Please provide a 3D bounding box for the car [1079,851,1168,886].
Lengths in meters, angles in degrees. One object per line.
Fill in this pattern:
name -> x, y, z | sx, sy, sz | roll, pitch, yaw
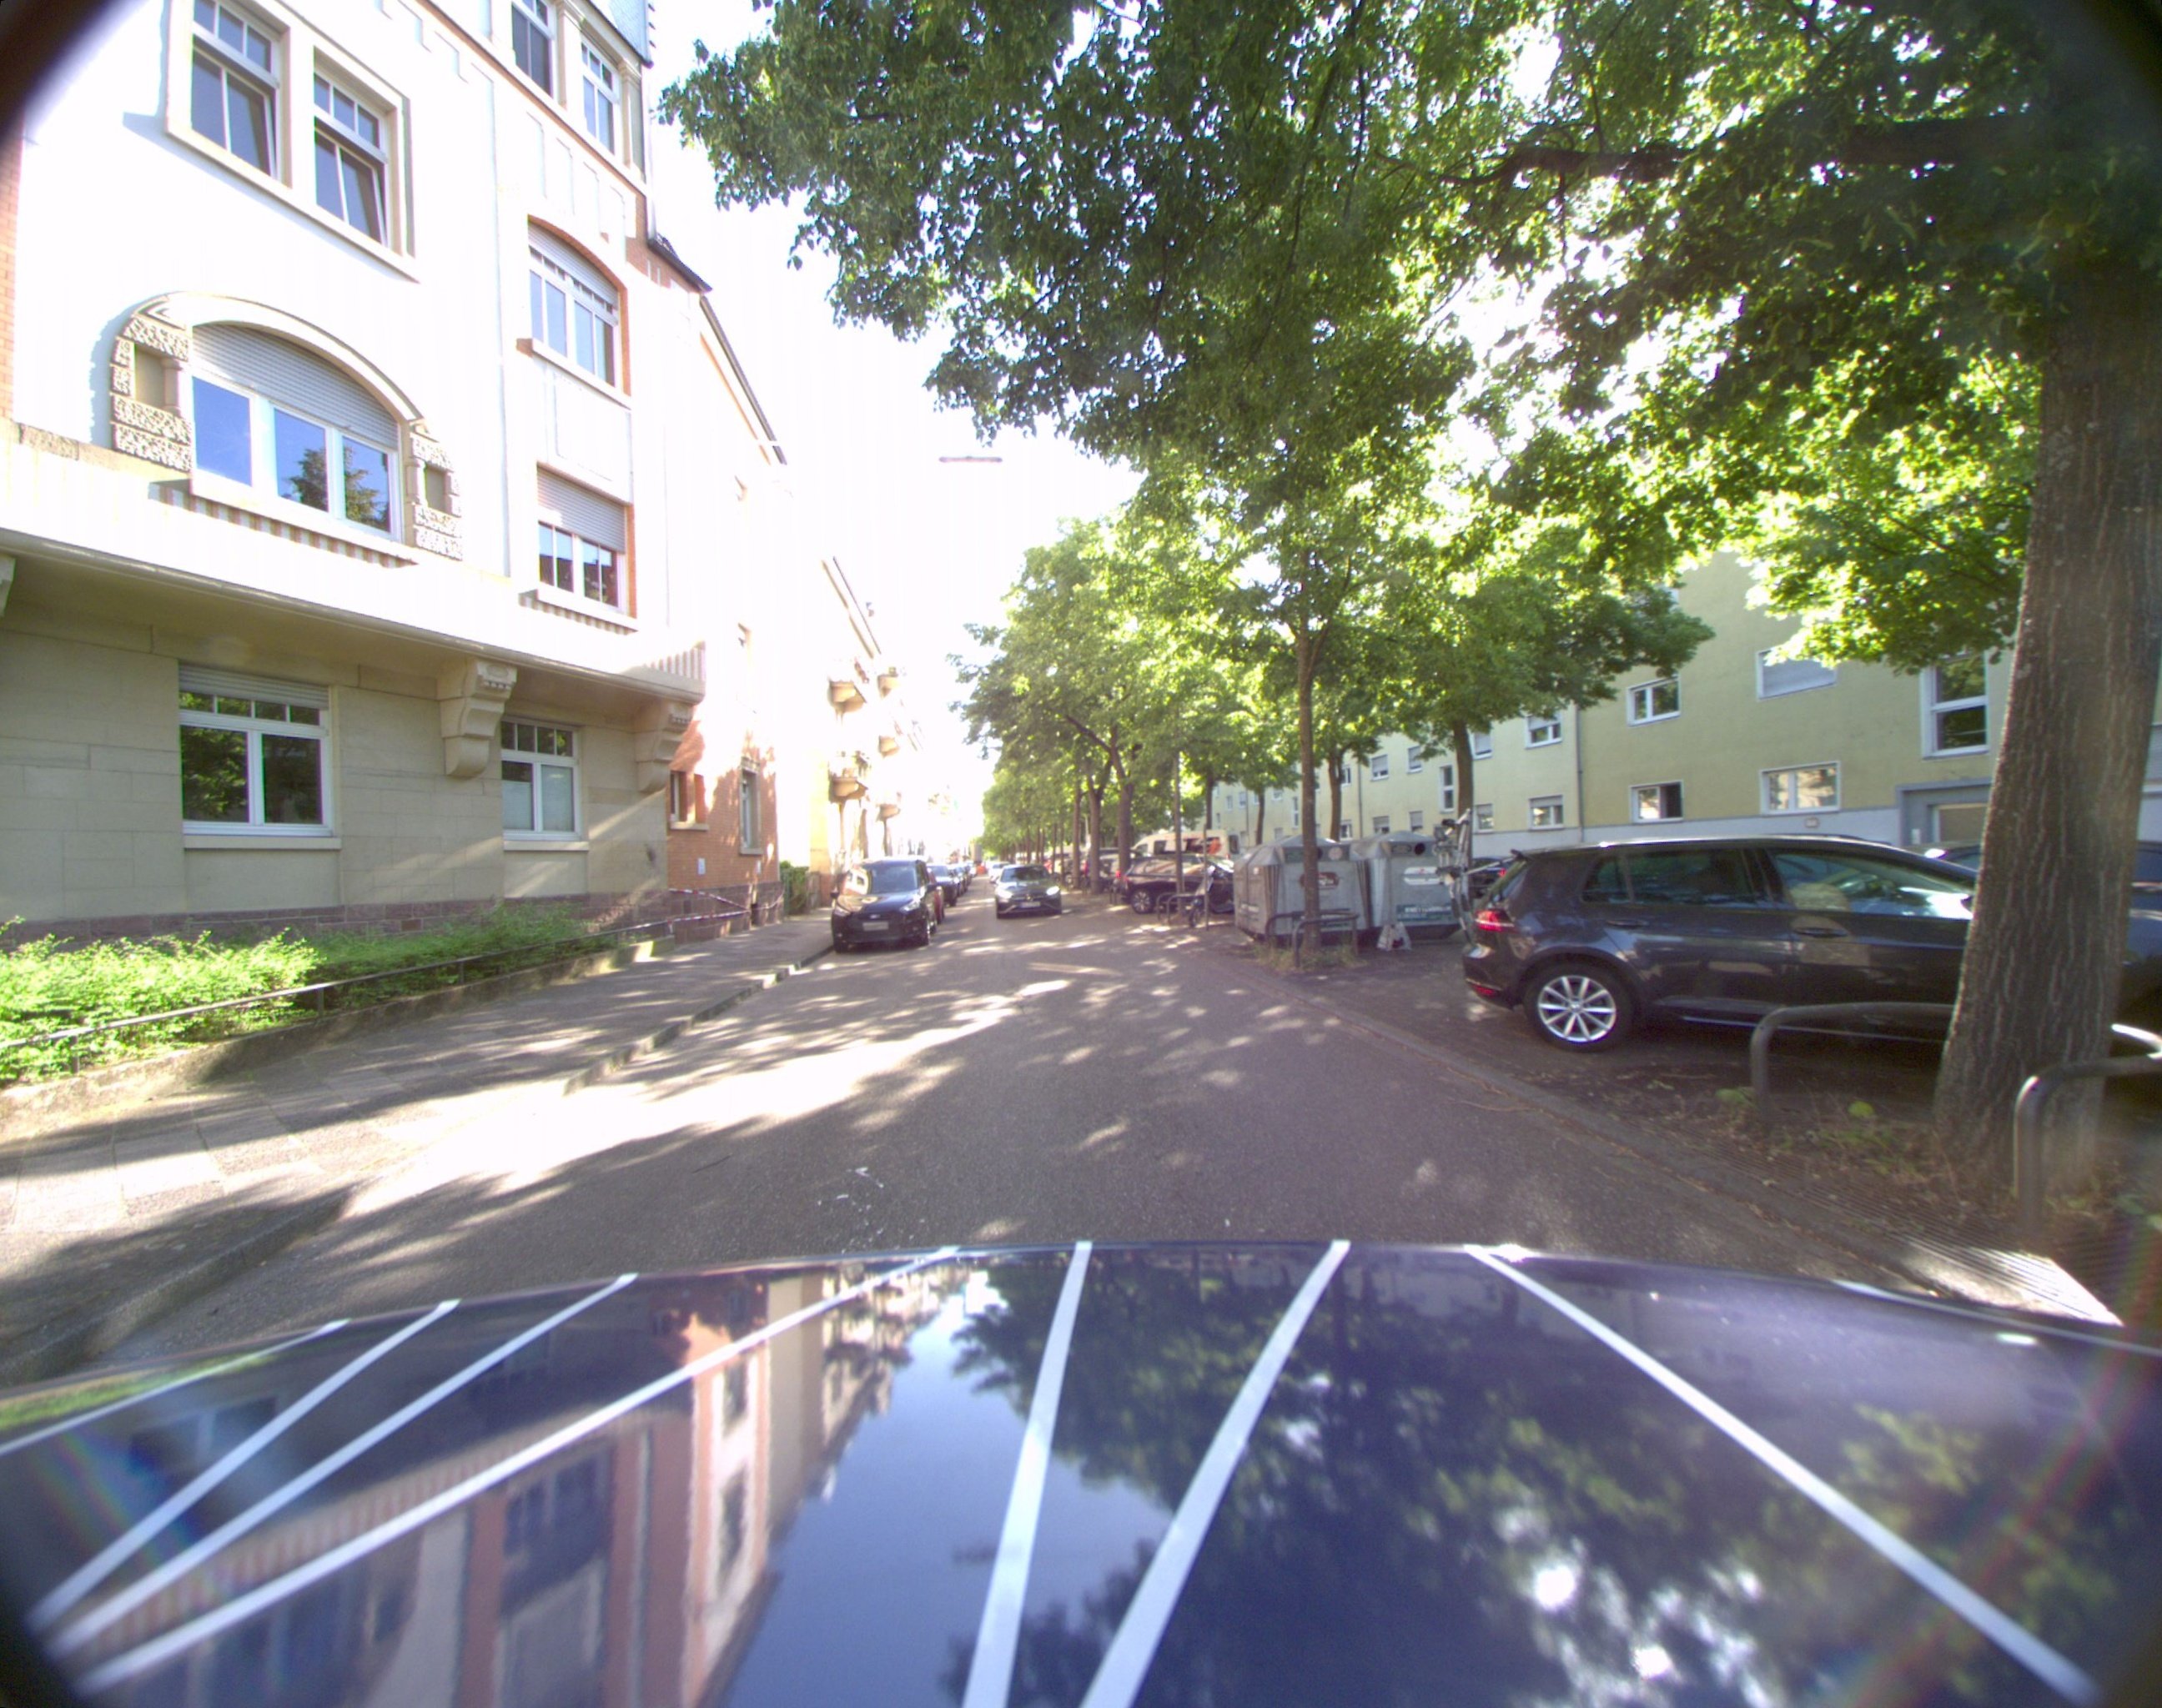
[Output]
car -> 2.078, 0.741, 37.638 | 3.989, 1.624, 1.827 | -2, 0, 31

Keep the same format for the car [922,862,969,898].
car -> -6.541, 1.208, 37.033 | 1.798, 1.547, 4.207 | -4, 0, -5

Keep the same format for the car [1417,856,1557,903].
car -> 13.706, 0.814, 25.998 | 2.043, 1.430, 4.385 | -1, 0, -7

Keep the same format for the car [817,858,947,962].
car -> -3.954, 1.029, 15.806 | 1.798, 1.756, 4.207 | -4, 0, -5

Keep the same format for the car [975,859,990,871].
car -> -13.763, 1.527, 106.115 | 1.798, 1.547, 4.207 | -4, 0, -5

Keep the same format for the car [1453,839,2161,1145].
car -> 4.784, 0.688, 4.985 | 3.989, 1.464, 1.763 | -2, 0, 33

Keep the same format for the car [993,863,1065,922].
car -> -1.530, 1.026, 21.855 | 1.798, 1.426, 4.207 | -3, 0, -5

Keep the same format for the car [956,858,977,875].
car -> -11.526, 1.249, 76.653 | 1.798, 1.547, 4.207 | -4, 0, -5

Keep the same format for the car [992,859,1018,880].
car -> -5.730, 1.142, 57.457 | 1.798, 1.426, 4.207 | -2, 0, -5

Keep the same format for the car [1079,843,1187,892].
car -> 2.122, 0.575, 31.186 | 3.989, 1.887, 1.827 | -2, 0, 31

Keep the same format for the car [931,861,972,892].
car -> -7.158, 1.215, 42.211 | 1.798, 1.547, 4.207 | -4, 0, -5

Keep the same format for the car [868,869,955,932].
car -> -4.714, 1.242, 21.680 | 1.798, 1.445, 4.207 | -4, 0, -5

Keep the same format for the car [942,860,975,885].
car -> -8.270, 1.231, 51.691 | 1.798, 1.547, 4.207 | -4, 0, -5

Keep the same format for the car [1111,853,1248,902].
car -> 3.195, 0.759, 24.730 | 3.989, 1.444, 1.827 | -2, 0, 31

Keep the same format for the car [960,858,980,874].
car -> -11.869, 1.307, 81.625 | 1.798, 1.547, 4.207 | -4, 0, -5

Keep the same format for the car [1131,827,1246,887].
car -> 4.720, 0.158, 33.489 | 4.583, 2.476, 1.990 | -1, 0, 27

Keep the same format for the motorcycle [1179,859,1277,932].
motorcycle -> 2.932, 0.803, 15.126 | 1.802, 1.340, 0.727 | -1, 0, -25

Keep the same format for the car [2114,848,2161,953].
car -> 15.773, 0.605, 8.703 | 1.735, 1.430, 4.385 | -1, 0, -7

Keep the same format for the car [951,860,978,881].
car -> -9.402, 1.340, 61.722 | 1.798, 1.547, 4.207 | -4, 0, -5

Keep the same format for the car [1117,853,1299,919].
car -> 3.090, 0.753, 18.652 | 3.989, 1.432, 1.827 | -2, 0, 31

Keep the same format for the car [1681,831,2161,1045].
car -> 7.534, 0.582, 6.178 | 3.989, 1.464, 1.763 | -2, 0, 32

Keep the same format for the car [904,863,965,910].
car -> -5.600, 1.197, 29.524 | 1.798, 1.547, 4.207 | -4, 0, -5

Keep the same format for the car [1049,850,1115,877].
car -> 0.099, 0.622, 50.828 | 3.992, 1.677, 1.826 | -1, 0, 18

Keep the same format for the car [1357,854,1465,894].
car -> 13.172, 0.769, 30.681 | 2.043, 1.430, 4.385 | -1, 0, -7

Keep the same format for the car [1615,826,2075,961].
car -> 9.382, 0.460, 9.606 | 3.997, 1.464, 1.760 | -1, 0, 1
